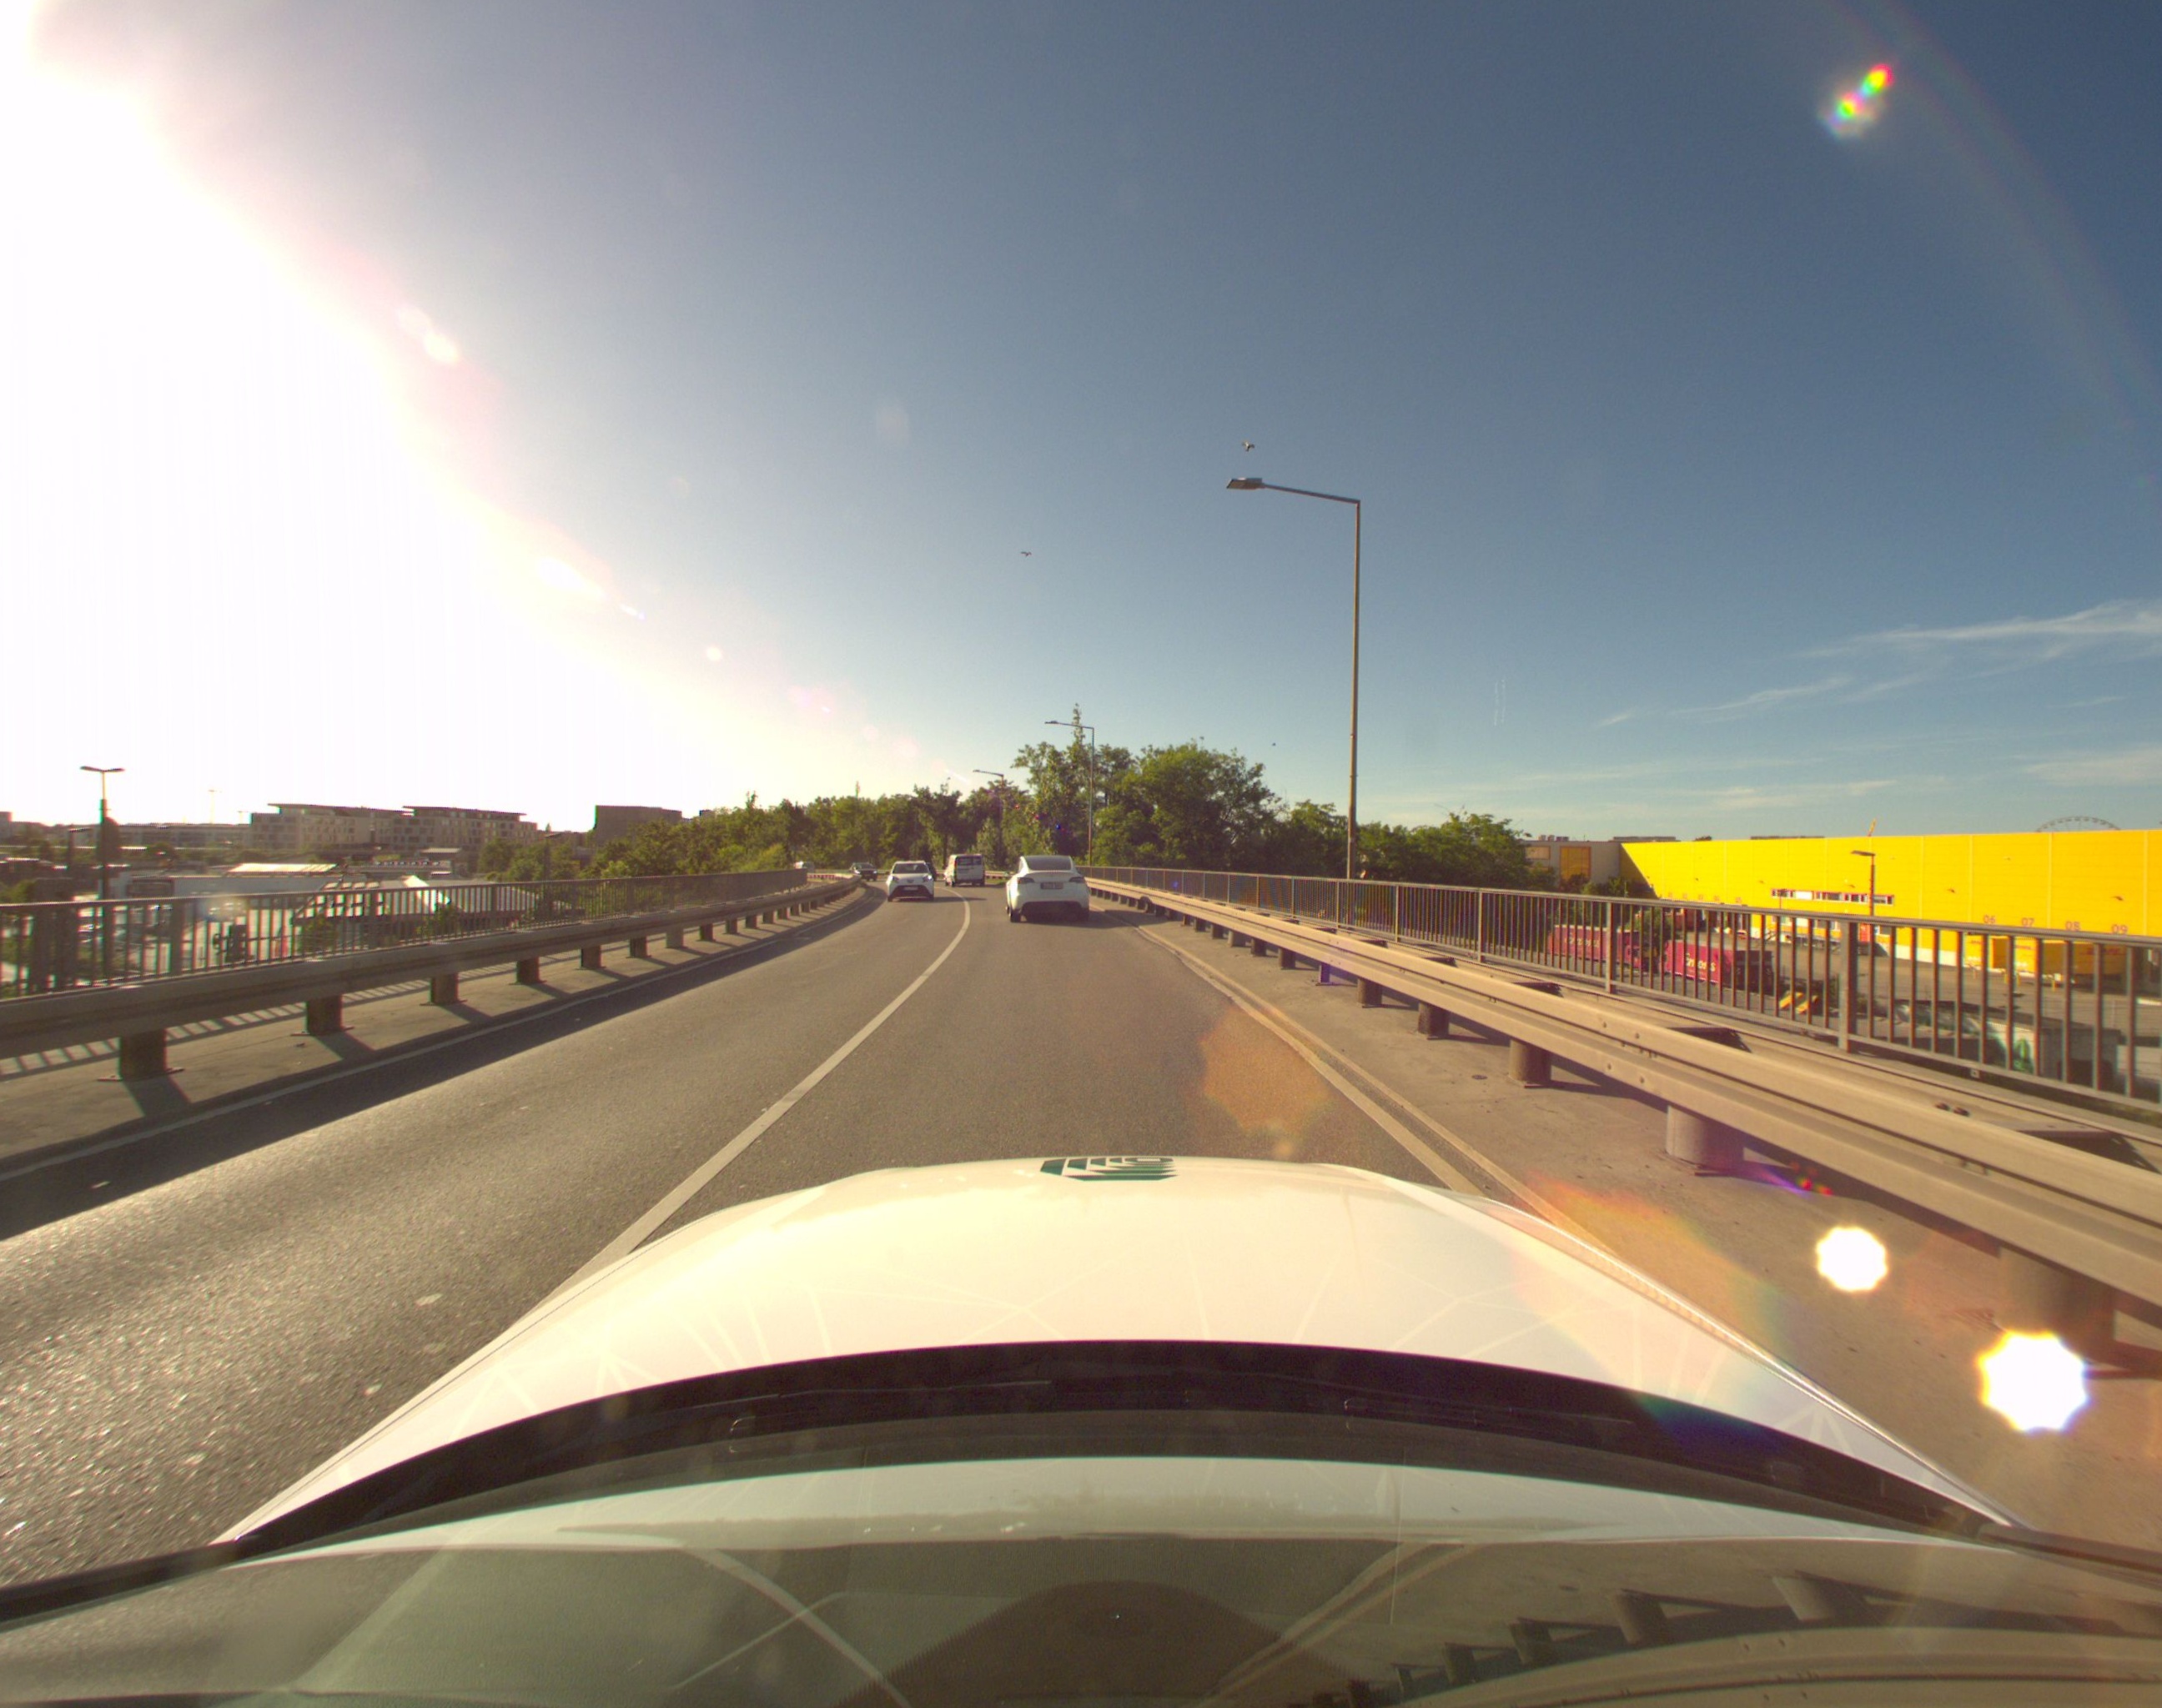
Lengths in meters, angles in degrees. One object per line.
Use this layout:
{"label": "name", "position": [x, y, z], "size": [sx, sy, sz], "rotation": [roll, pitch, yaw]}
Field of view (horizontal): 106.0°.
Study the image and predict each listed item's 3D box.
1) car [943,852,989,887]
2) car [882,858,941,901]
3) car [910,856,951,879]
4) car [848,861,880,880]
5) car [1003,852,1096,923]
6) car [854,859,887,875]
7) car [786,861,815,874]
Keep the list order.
{"label": "car", "position": [-6.759, 0.881, 47.615], "size": [2.010, 1.940, 4.442], "rotation": [-1, 0, -16]}
{"label": "car", "position": [-6.680, 0.943, 31.776], "size": [1.842, 1.519, 3.746], "rotation": [-1, 0, -18]}
{"label": "car", "position": [-11.751, 1.083, 63.371], "size": [1.980, 1.638, 3.963], "rotation": [-2, -1, -28]}
{"label": "car", "position": [-18.400, 1.368, 68.973], "size": [1.833, 1.552, 4.148], "rotation": [-1, 0, -26]}
{"label": "car", "position": [-0.913, 0.784, 20.841], "size": [1.984, 1.638, 4.050], "rotation": [0, -1, -8]}
{"label": "car", "position": [-21.434, 1.301, 82.840], "size": [1.874, 1.585, 3.871], "rotation": [-1, 0, -36]}
{"label": "car", "position": [-34.436, 1.618, 99.858], "size": [3.844, 1.555, 1.852], "rotation": [-1, 0, 44]}
